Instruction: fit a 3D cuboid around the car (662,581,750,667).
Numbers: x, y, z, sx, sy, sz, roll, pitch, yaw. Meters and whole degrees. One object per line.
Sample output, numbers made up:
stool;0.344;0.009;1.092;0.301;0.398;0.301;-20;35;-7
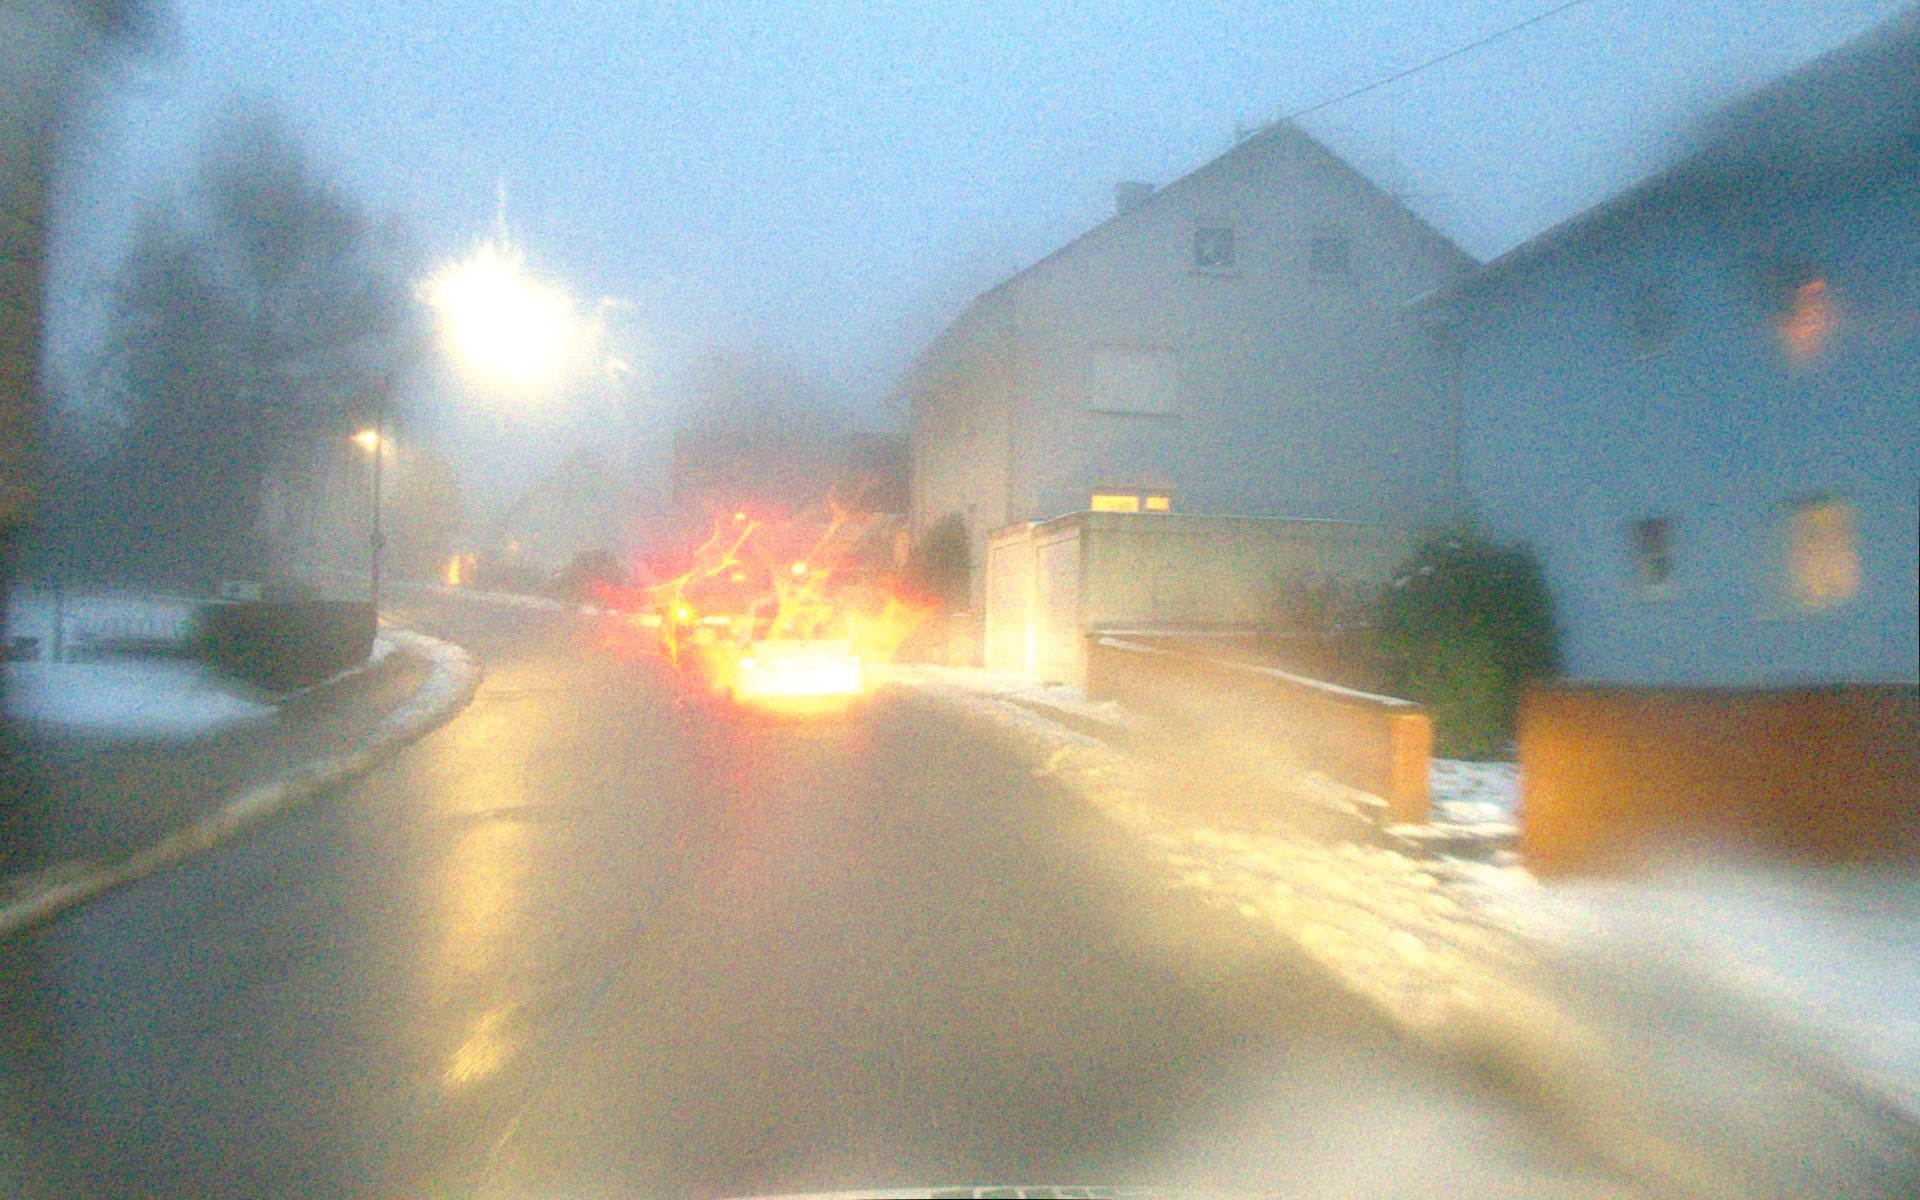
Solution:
car;-5.285;0.520;34.134;1.616;1.624;3.689;2;-2;-11

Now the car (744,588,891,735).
car;-1.859;0.754;20.768;1.614;1.624;3.693;2;-2;-7
